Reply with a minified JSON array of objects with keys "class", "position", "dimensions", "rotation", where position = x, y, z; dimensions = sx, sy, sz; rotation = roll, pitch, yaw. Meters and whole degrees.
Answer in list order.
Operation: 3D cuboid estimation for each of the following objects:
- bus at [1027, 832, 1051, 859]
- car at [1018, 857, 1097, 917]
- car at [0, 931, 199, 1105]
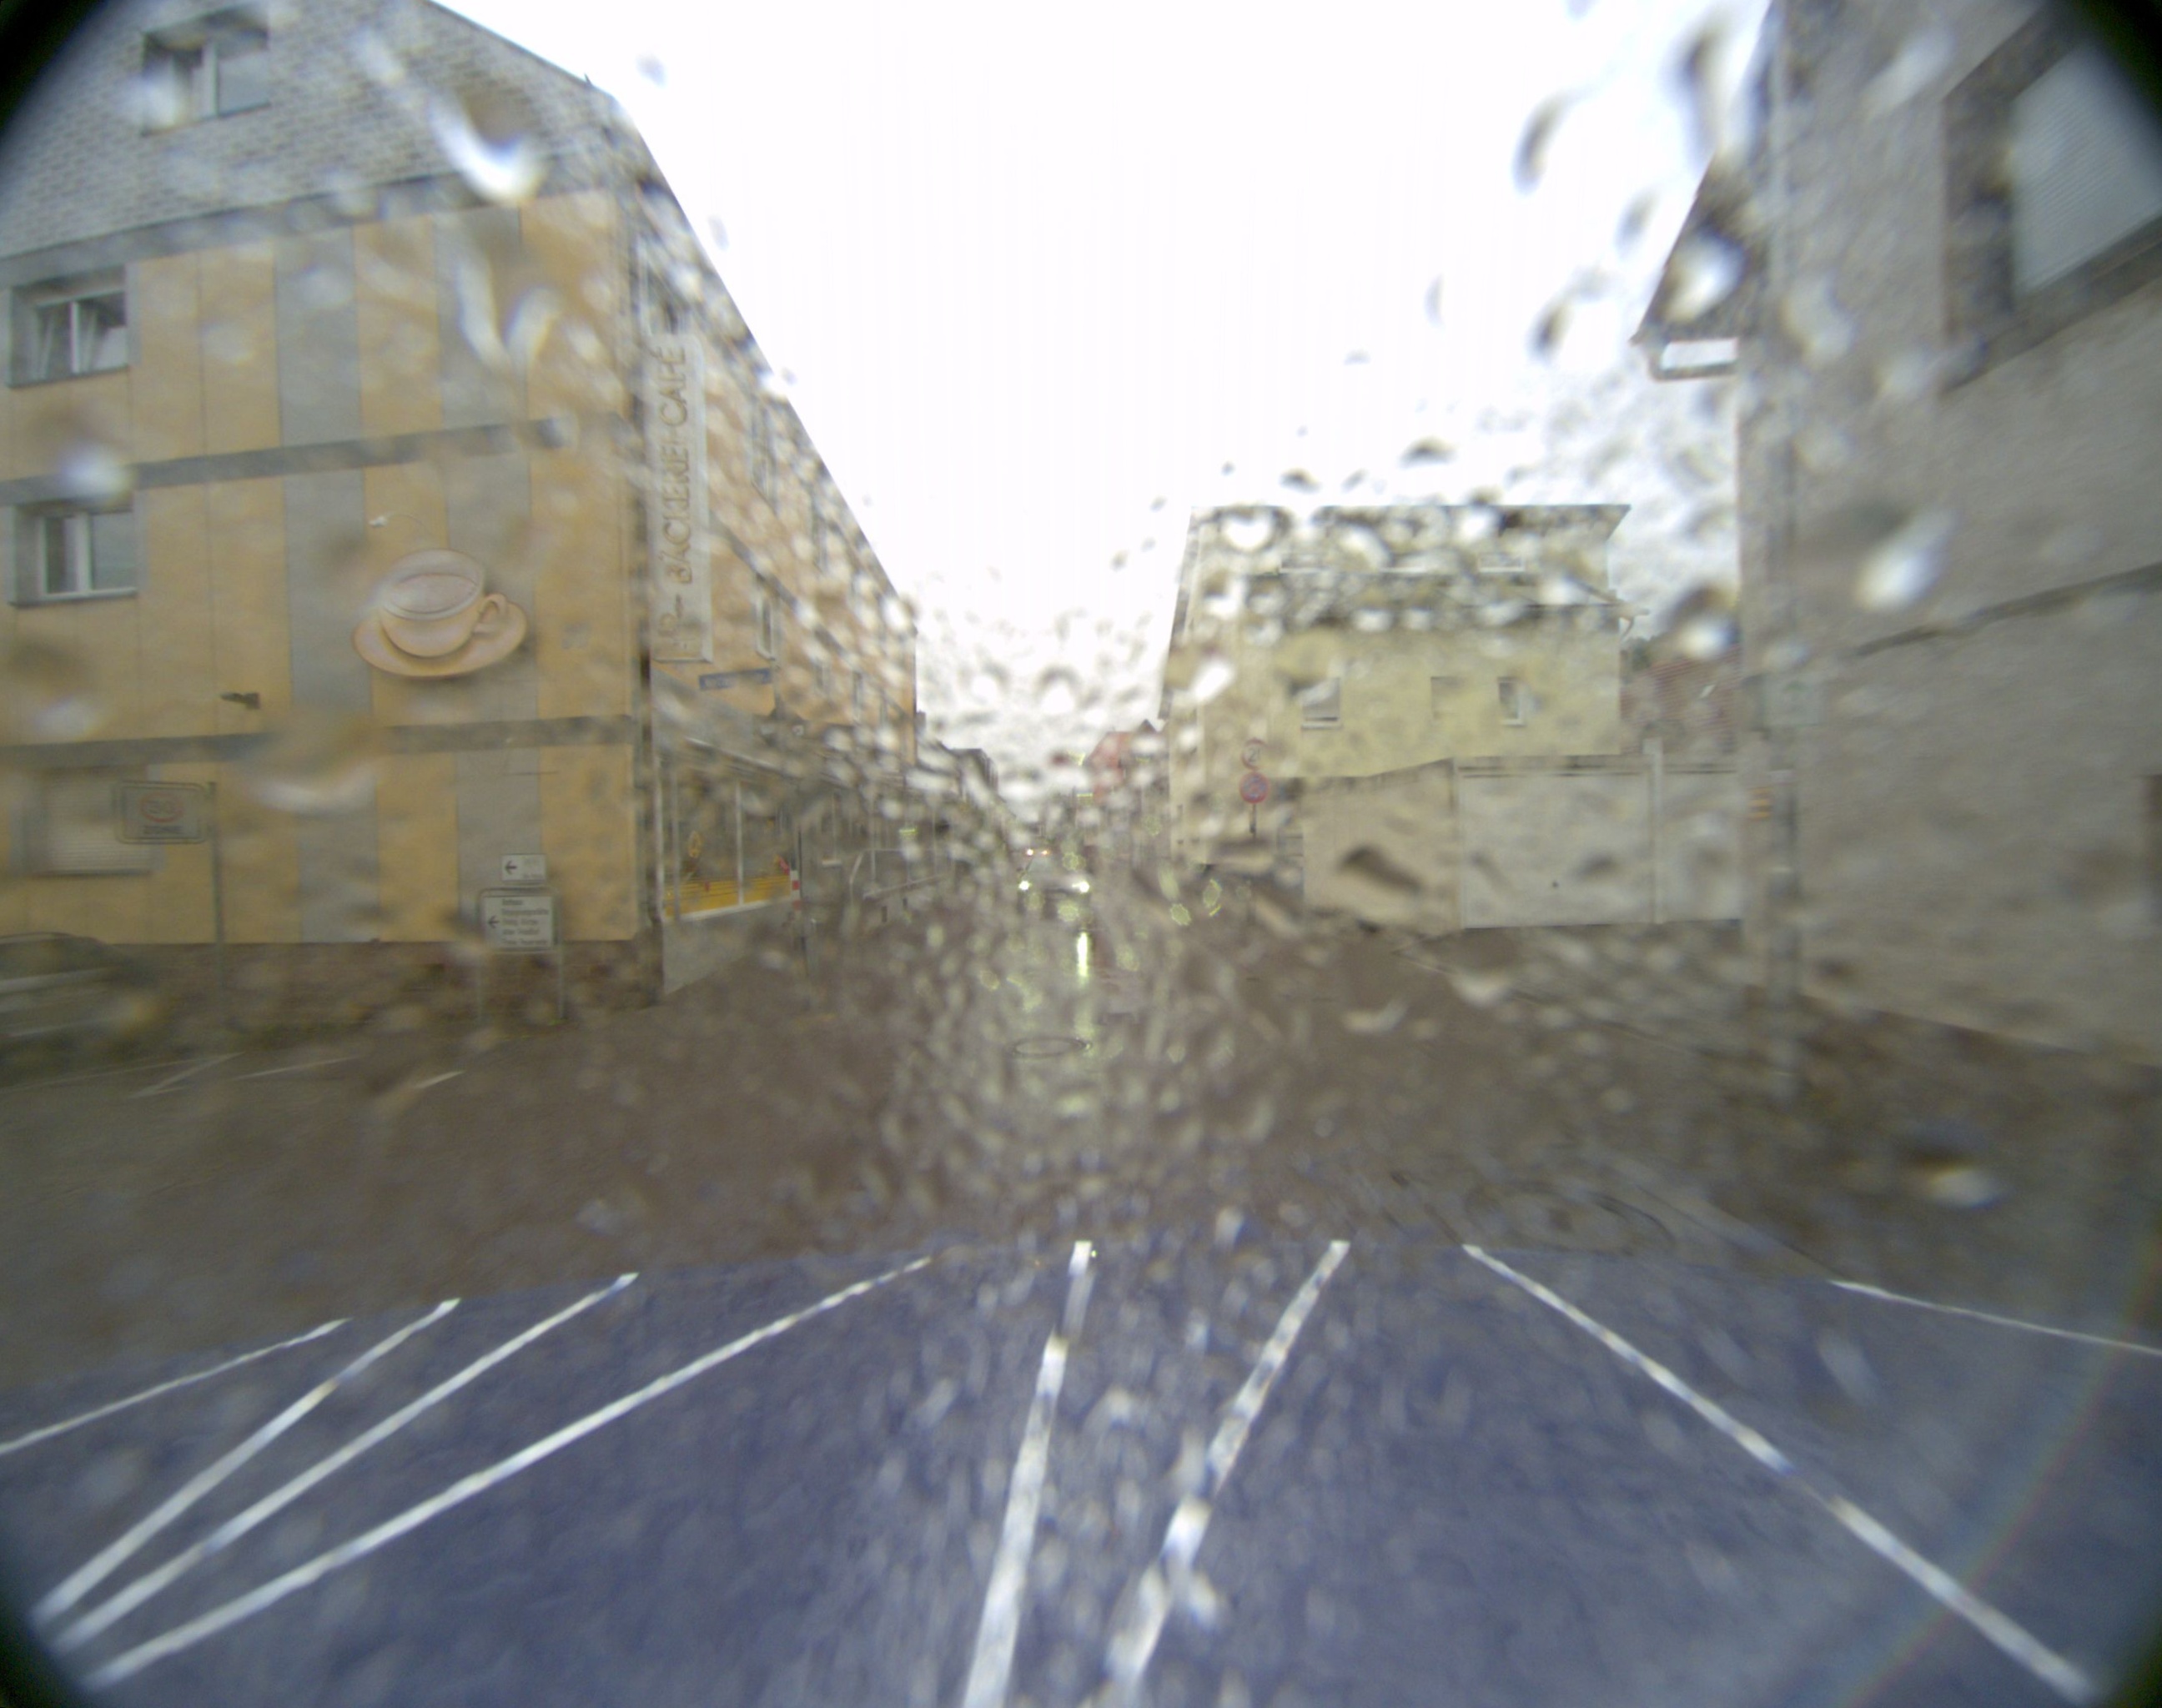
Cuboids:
[{"class":"bus","position":[-6.163,-1.273,109.452],"dimensions":[2.894,3.590,11.971],"rotation":[-2,1,-6]},{"class":"car","position":[-0.517,0.776,19.679],"dimensions":[1.800,1.342,3.738],"rotation":[-1,0,2]},{"class":"car","position":[-12.213,1.797,7.984],"dimensions":[4.192,1.452,1.776],"rotation":[-5,2,9]}]
